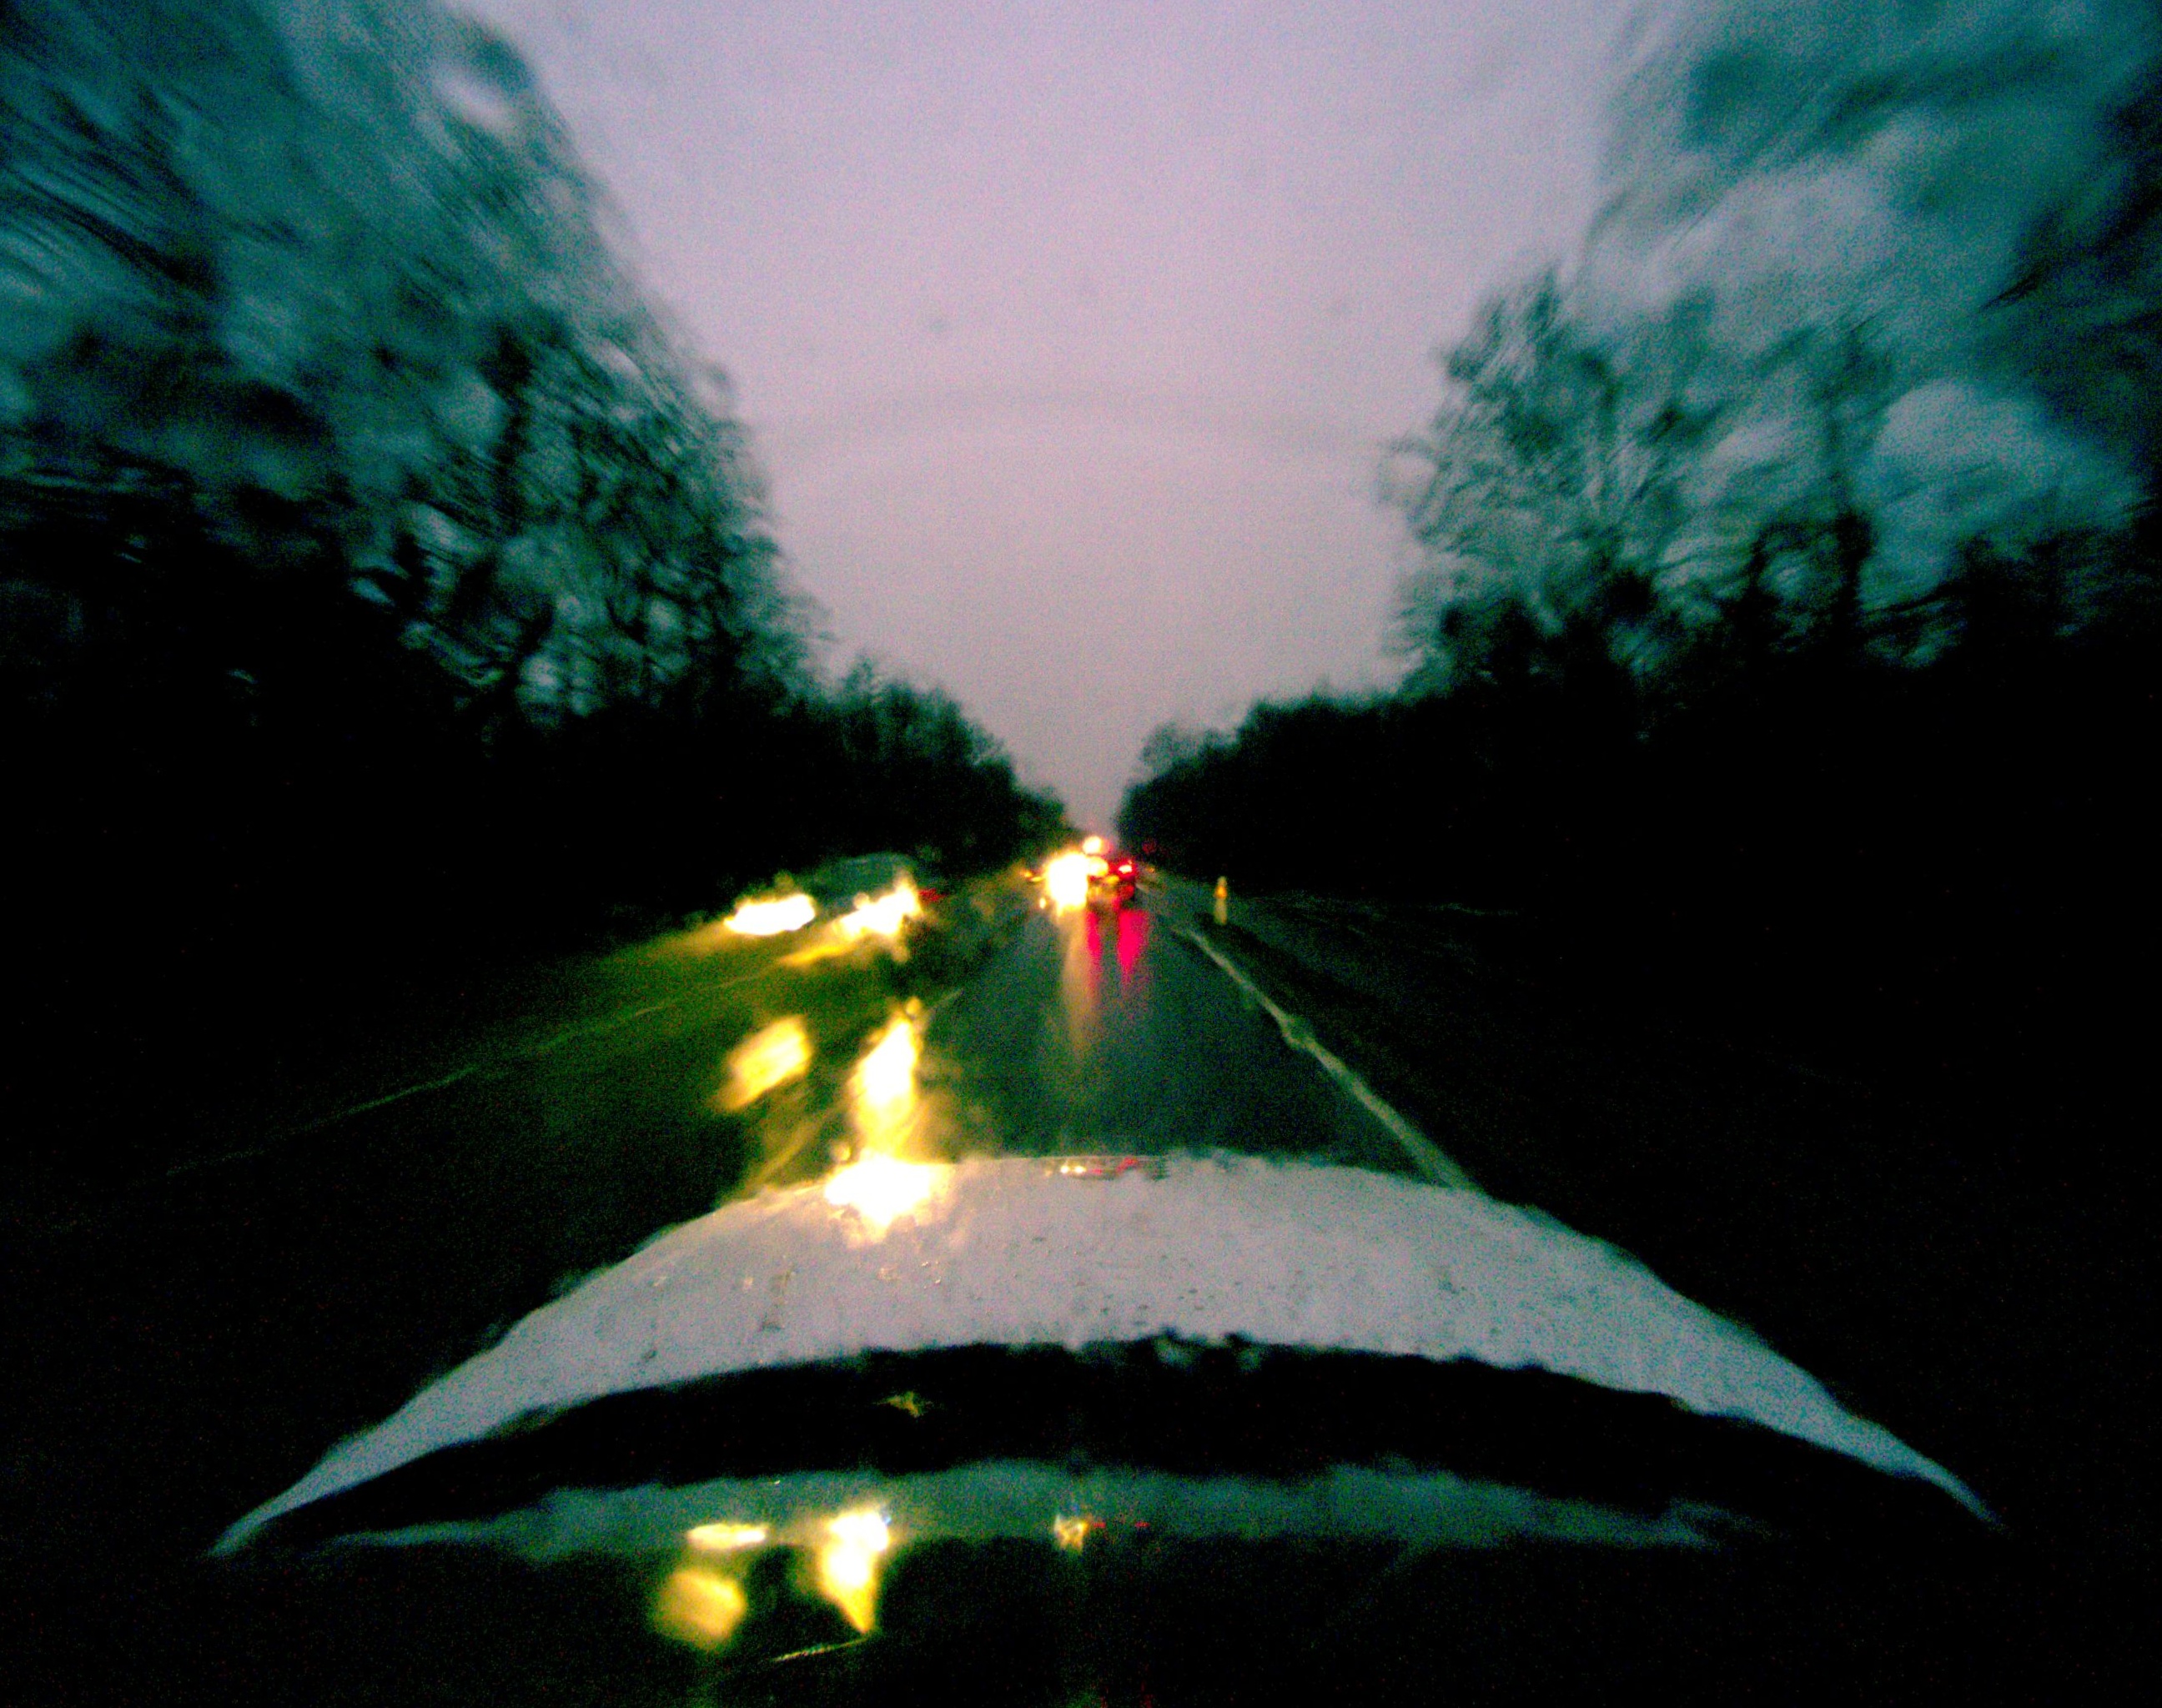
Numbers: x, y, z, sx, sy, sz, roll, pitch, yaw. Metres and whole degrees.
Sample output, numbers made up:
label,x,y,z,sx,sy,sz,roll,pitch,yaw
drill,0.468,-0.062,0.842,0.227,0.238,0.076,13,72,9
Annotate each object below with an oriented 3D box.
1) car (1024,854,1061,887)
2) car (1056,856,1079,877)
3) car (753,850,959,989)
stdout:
label,x,y,z,sx,sy,sz,roll,pitch,yaw
car,-1.957,0.838,42.408,1.575,1.550,4.001,-3,-1,1
car,-1.181,1.111,73.268,1.700,1.822,4.287,-3,0,2
car,-3.029,0.804,11.869,1.734,1.635,4.002,-2,0,2
